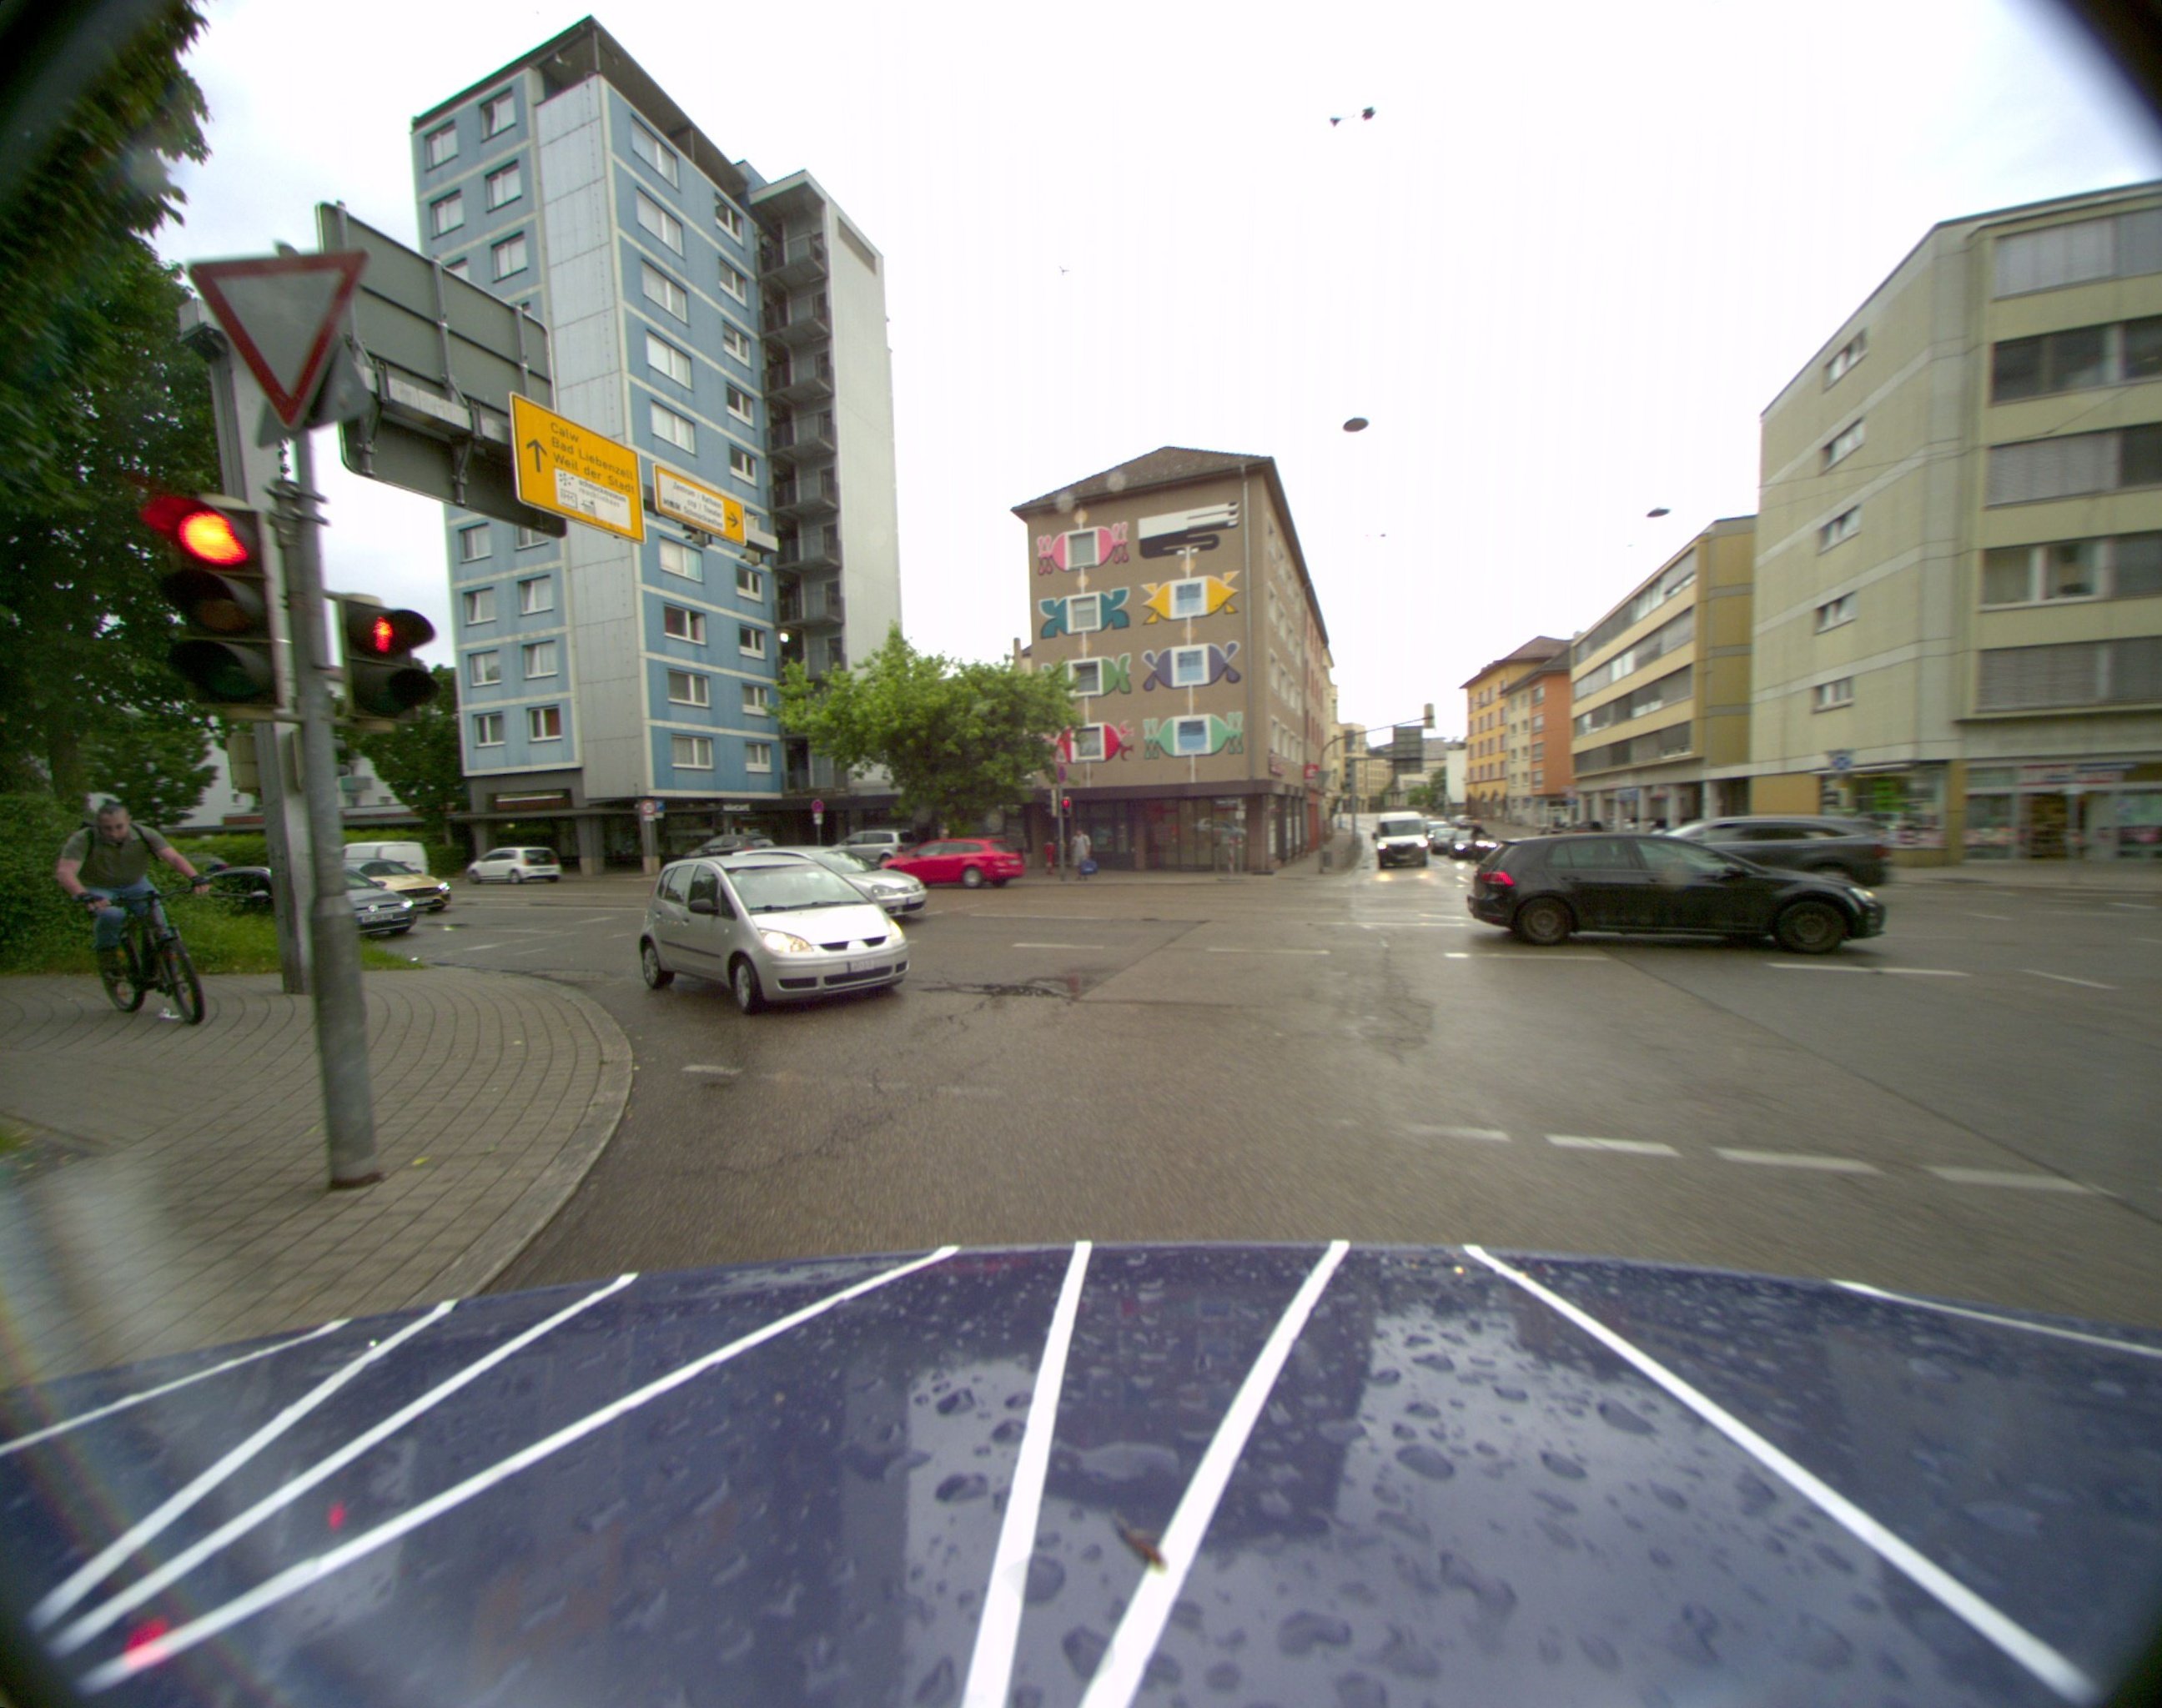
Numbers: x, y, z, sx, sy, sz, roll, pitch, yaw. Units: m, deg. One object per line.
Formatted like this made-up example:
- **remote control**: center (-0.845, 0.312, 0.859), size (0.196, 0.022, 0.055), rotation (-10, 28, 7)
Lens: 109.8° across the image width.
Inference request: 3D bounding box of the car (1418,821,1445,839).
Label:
- **car**: center (30.028, -2.073, 65.204), size (1.846, 1.411, 3.574), rotation (-3, 1, 22)

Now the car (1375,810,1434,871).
- **car**: center (14.733, -0.637, 34.738), size (2.228, 2.509, 5.478), rotation (-2, 1, 22)

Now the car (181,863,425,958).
- **car**: center (-15.246, 1.047, 14.882), size (4.491, 1.497, 1.689), rotation (-1, 5, 23)

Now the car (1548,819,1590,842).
- **car**: center (36.915, -1.803, 57.554), size (1.846, 1.558, 4.375), rotation (-3, 1, 22)

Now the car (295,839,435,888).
- **car**: center (-27.415, 0.352, 29.090), size (5.103, 1.758, 1.760), rotation (0, 2, 21)

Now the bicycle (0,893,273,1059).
- **bicycle**: center (-8.215, 0.974, 6.580), size (2.128, 1.180, 0.890), rotation (0, 1, 20)

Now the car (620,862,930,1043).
- **car**: center (-3.566, 0.884, 8.521), size (3.827, 1.496, 1.691), rotation (-1, 2, 43)

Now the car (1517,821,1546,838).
- **car**: center (45.130, -2.472, 76.154), size (1.846, 1.558, 4.375), rotation (-3, 1, 22)

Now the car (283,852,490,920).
- **car**: center (-18.021, 0.766, 19.741), size (4.570, 1.434, 1.993), rotation (0, 6, 21)

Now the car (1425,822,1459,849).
- **car**: center (25.317, -1.323, 53.395), size (1.846, 1.705, 3.574), rotation (-3, 1, 22)

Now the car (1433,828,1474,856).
- **car**: center (21.409, -0.709, 43.794), size (1.846, 1.411, 3.574), rotation (-3, 1, 22)

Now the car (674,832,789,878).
- **car**: center (-14.088, -0.010, 30.649), size (4.176, 1.657, 1.652), rotation (1, 5, 21)

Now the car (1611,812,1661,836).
- **car**: center (40.501, -2.156, 55.546), size (1.846, 1.558, 4.375), rotation (-3, 1, 22)

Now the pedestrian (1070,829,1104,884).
- **pedestrian**: center (0.205, 0.077, 24.894), size (0.901, 1.764, 0.819), rotation (1, 2, 21)

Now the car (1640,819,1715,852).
- **car**: center (28.480, -0.877, 36.410), size (1.846, 1.411, 3.574), rotation (-3, 1, 22)

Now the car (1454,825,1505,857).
- **car**: center (19.439, -0.663, 37.205), size (1.846, 1.411, 3.574), rotation (-3, 1, 22)

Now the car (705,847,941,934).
- **car**: center (-4.853, 0.606, 14.333), size (4.027, 1.417, 1.690), rotation (0, 3, 21)

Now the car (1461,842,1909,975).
- **car**: center (7.270, 0.588, 9.718), size (4.157, 1.417, 1.690), rotation (0, 2, 21)

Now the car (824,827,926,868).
- **car**: center (-9.212, -0.318, 33.943), size (4.176, 1.657, 1.652), rotation (1, 5, 21)

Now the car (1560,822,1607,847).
- **car**: center (34.936, -1.365, 52.936), size (1.846, 1.558, 4.375), rotation (-3, 1, 22)

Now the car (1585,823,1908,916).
- **car**: center (13.246, 0.245, 15.579), size (4.559, 1.693, 1.994), rotation (0, 2, 24)

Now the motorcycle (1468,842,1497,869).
- **motorcycle**: center (16.915, 0.054, 32.023), size (0.877, 1.093, 1.802), rotation (0, 2, 21)

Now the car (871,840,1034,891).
- **car**: center (-3.866, 0.314, 22.905), size (4.572, 1.415, 1.710), rotation (0, 2, 20)

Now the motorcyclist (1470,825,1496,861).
- **motorcyclist**: center (16.904, -0.455, 31.984), size (0.877, 1.471, 0.797), rotation (0, 2, 21)

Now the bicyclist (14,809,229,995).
- **bicyclist**: center (-8.310, 0.381, 6.610), size (0.966, 1.481, 0.890), rotation (0, 1, 20)

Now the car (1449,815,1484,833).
- **car**: center (40.971, -3.202, 80.824), size (1.848, 1.700, 4.367), rotation (-1, 4, 5)

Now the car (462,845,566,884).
- **car**: center (-22.817, 0.396, 30.618), size (3.434, 1.476, 1.709), rotation (0, 2, 21)
